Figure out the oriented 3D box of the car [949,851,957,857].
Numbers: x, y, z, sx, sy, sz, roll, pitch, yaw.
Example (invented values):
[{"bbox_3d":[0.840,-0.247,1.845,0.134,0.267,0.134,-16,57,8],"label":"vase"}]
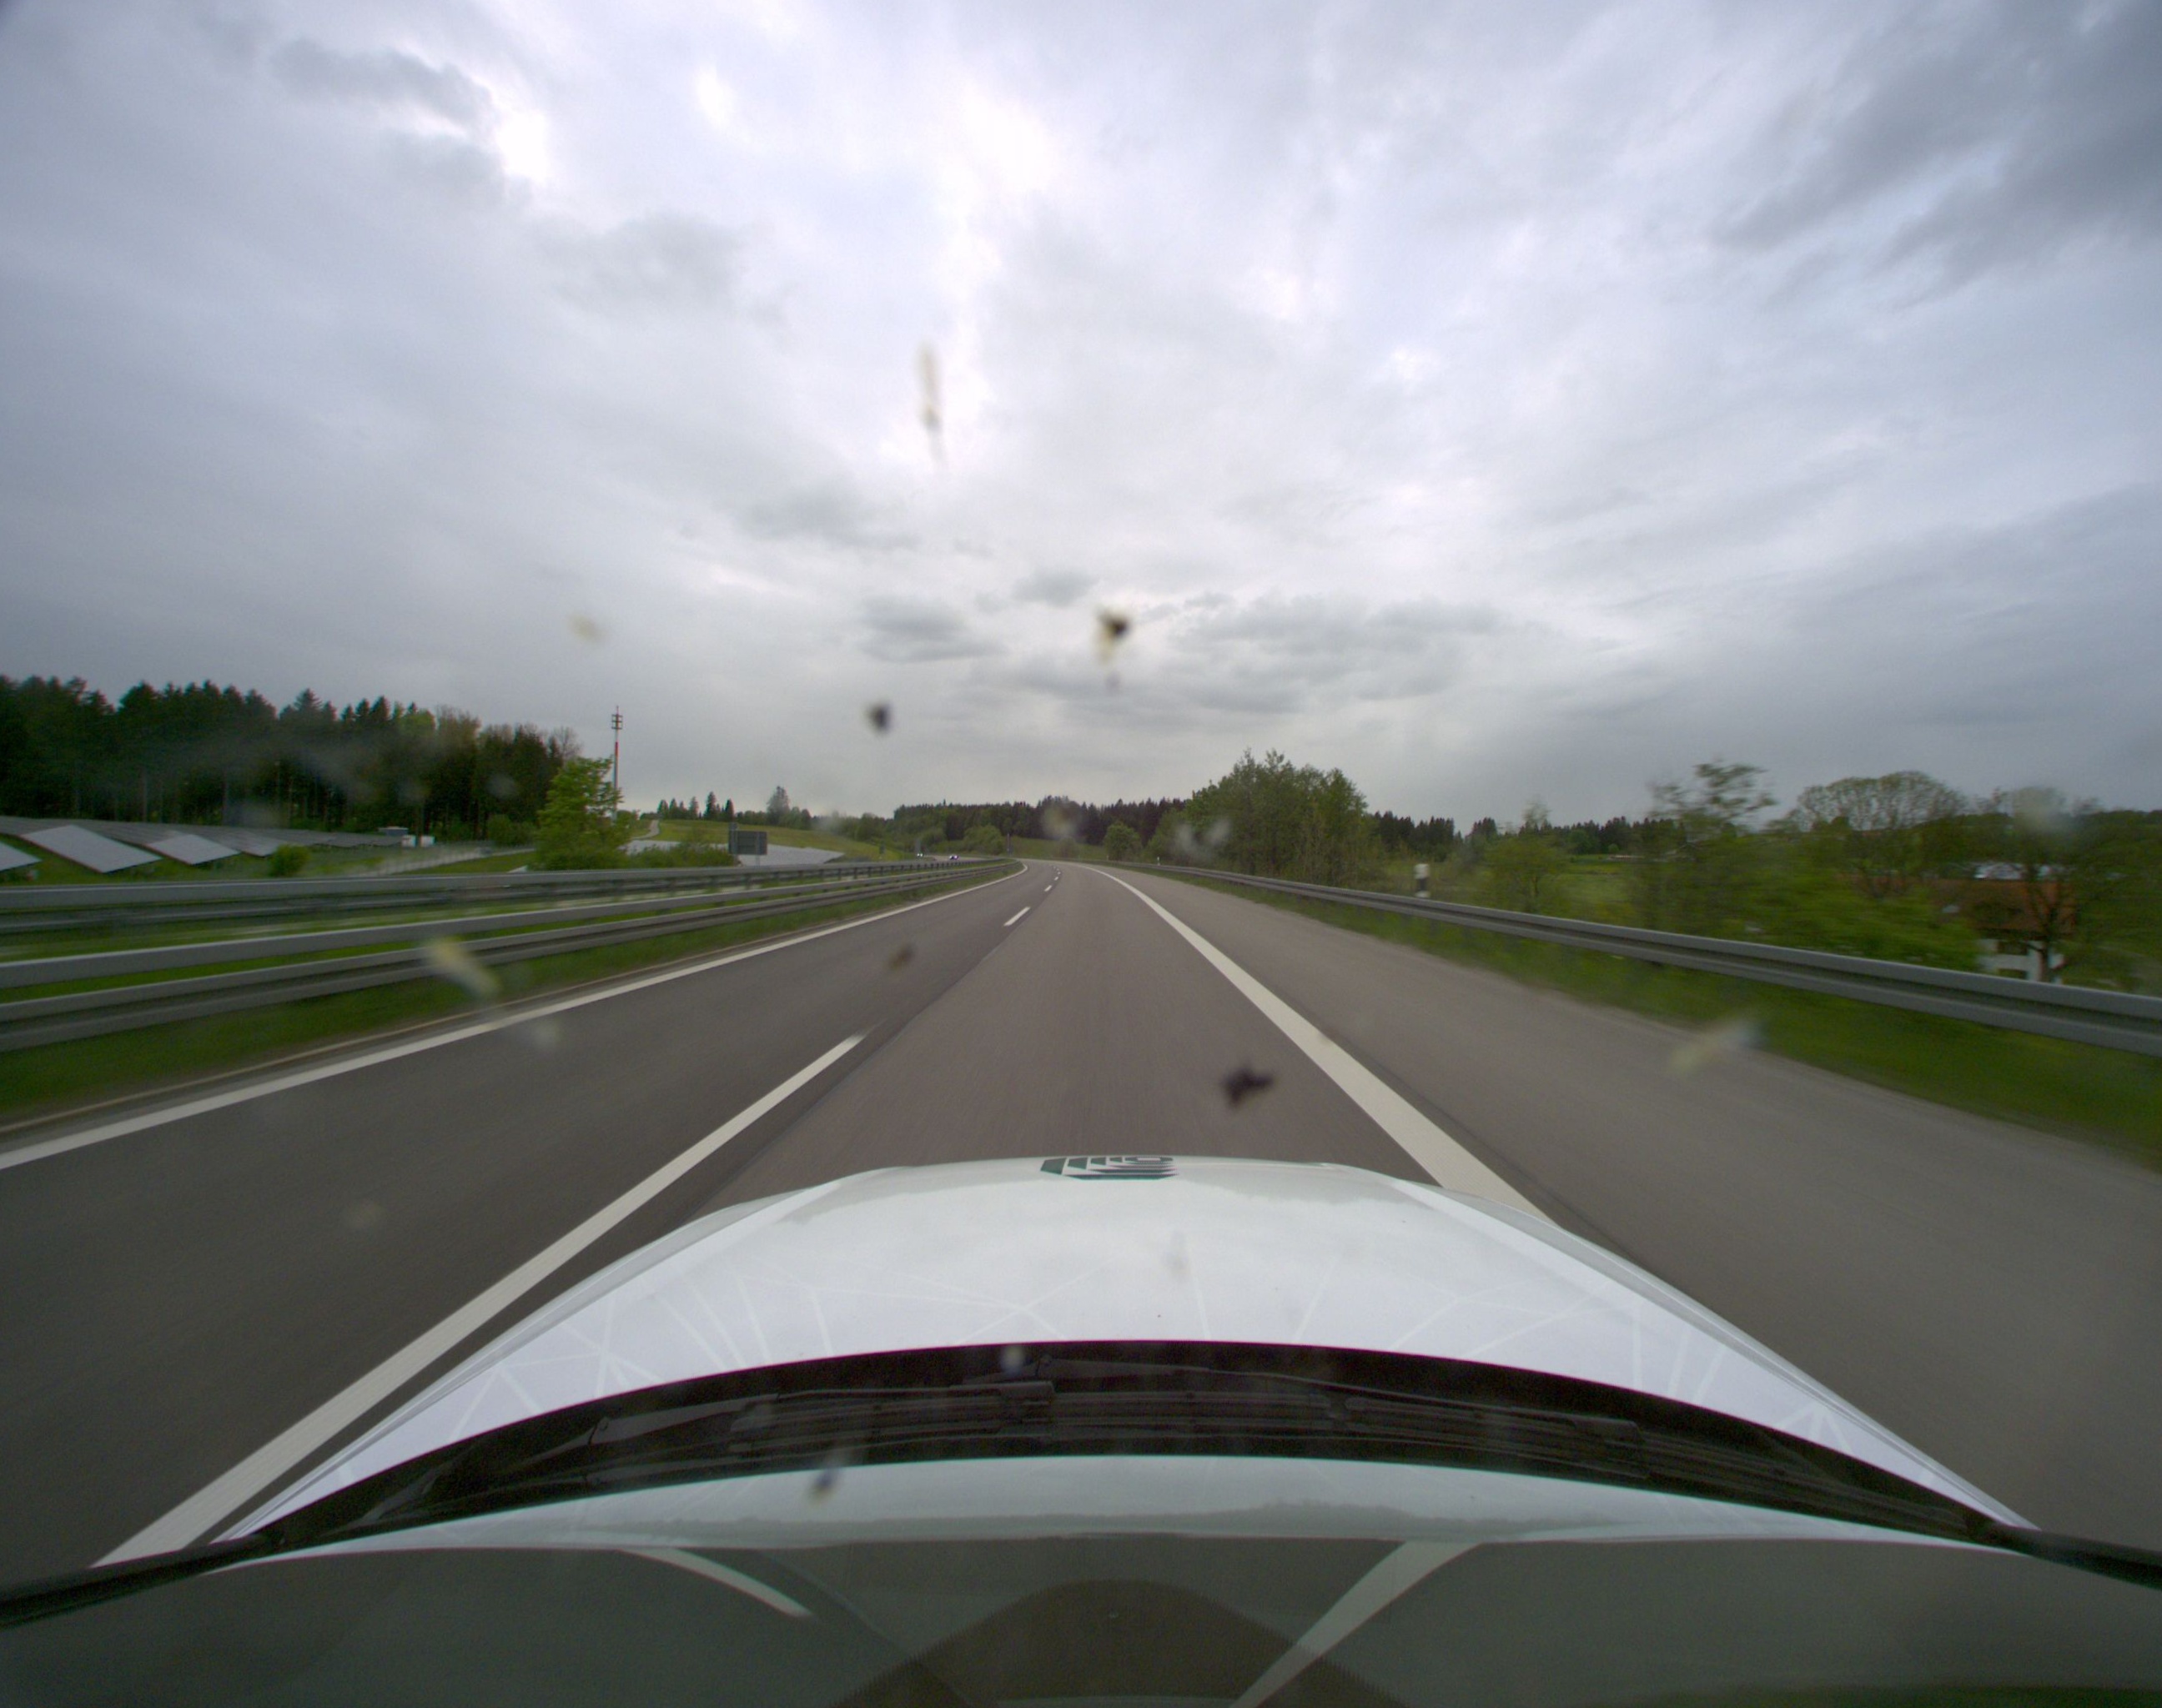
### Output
[{"bbox_3d":[-35.150,-0.015,224.450,1.991,1.498,4.141,2,0,-7],"label":"car"}]
